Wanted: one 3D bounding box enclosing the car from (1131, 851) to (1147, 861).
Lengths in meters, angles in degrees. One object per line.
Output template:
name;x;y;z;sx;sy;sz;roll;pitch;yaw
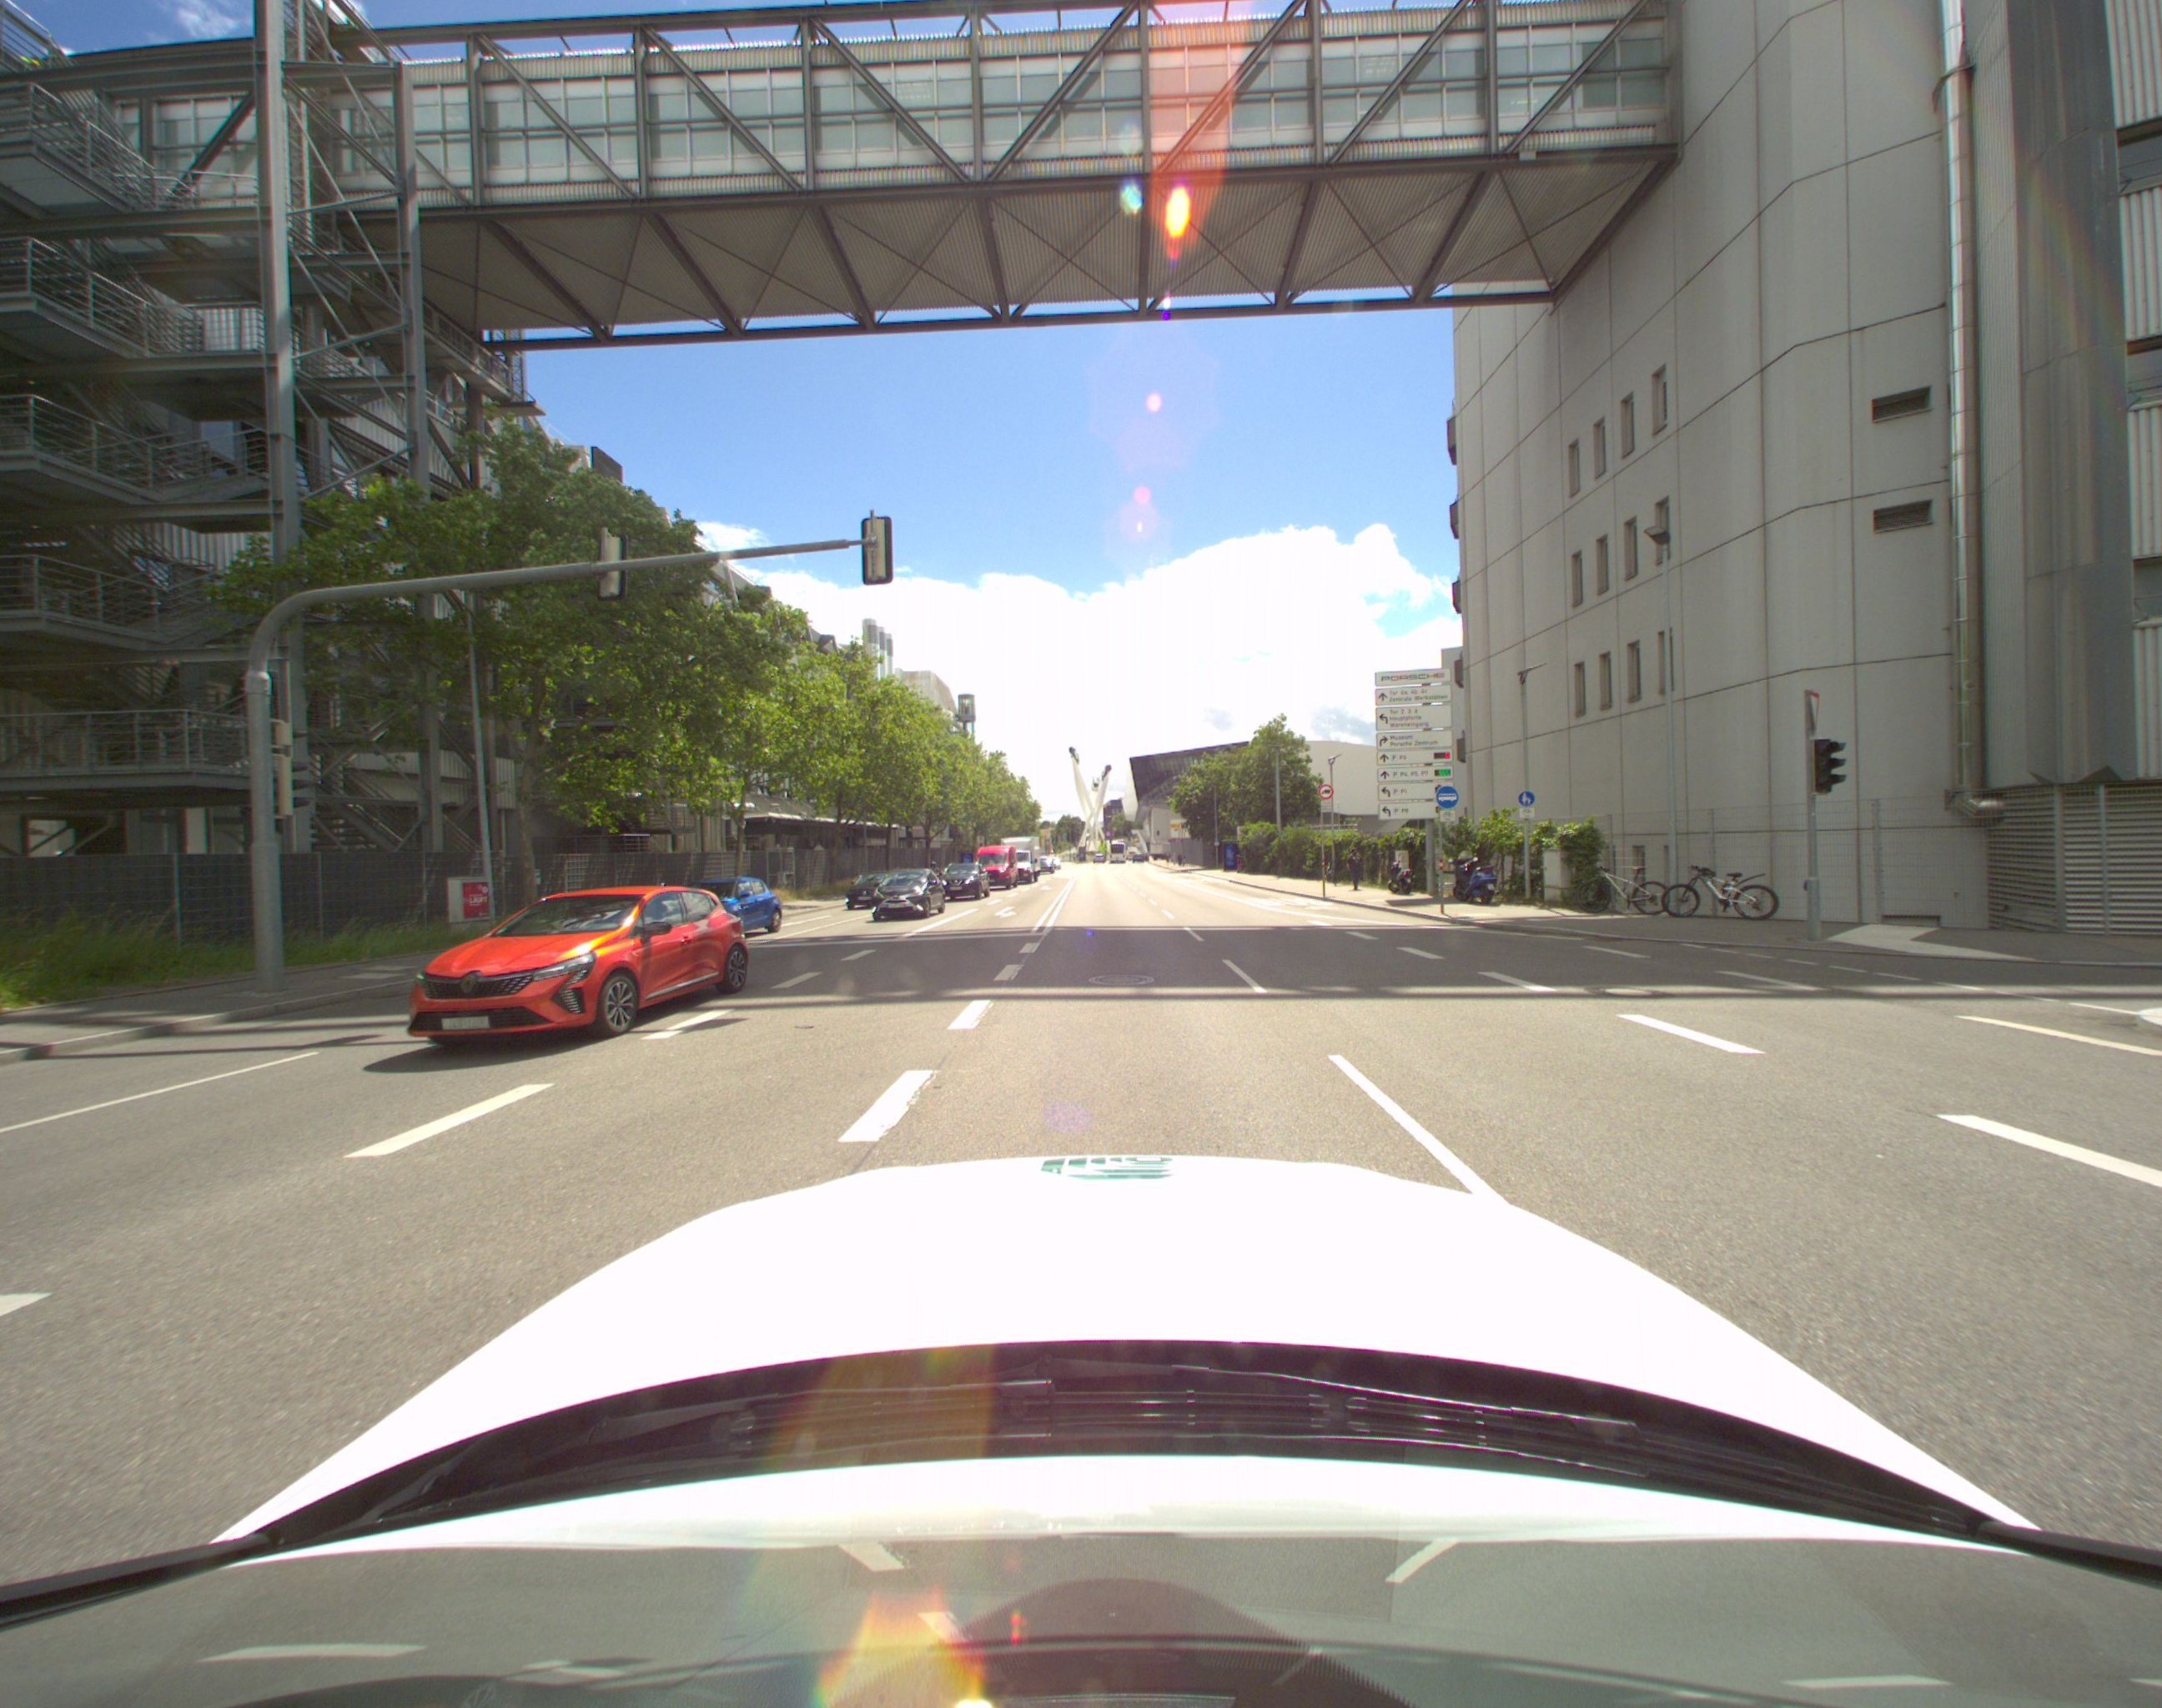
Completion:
car;9.759;0.351;136.700;1.979;1.636;4.016;-1;1;14

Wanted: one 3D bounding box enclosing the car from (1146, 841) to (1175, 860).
car;15.712;-0.638;159.863;3.307;3.504;9.389;-1;-1;20

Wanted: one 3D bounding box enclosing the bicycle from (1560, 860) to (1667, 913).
bicycle;12.072;0.742;18.493;1.944;1.128;0.549;-3;0;36

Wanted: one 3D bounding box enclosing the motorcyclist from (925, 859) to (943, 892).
motorcyclist;-7.343;1.059;40.744;0.731;1.622;1.094;0;-1;-2

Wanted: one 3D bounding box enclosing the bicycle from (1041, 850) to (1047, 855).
bicycle;-10.526;-0.382;229.954;1.600;1.382;0.493;0;-1;0

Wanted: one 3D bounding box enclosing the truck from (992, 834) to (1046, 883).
truck;-4.122;0.328;55.396;2.440;3.129;7.254;0;-1;5

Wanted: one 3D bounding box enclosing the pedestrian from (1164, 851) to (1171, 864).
pedestrian;11.229;0.458;105.468;0.792;1.720;0.732;0;-1;1

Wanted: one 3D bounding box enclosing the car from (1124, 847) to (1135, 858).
car;10.148;-0.273;169.291;1.983;2.171;4.664;0;-1;7

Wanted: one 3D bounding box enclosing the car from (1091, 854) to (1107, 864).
car;2.941;0.796;132.927;1.980;1.636;4.013;-1;-1;11

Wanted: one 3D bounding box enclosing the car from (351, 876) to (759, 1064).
car;-5.345;1.055;9.031;1.878;1.454;3.903;-3;-1;1

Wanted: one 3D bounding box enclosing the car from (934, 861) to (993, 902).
car;-4.999;1.135;35.144;1.729;1.684;4.216;0;-1;3

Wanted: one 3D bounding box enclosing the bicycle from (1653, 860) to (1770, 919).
bicycle;13.004;0.725;16.855;1.862;1.128;0.549;-2;1;36

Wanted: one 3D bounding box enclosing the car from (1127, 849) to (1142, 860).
car;10.201;0.137;155.267;1.979;1.932;4.257;-1;-1;14

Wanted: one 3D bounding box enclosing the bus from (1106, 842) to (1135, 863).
bus;6.750;-0.258;136.886;3.051;3.362;12.262;-1;-1;12

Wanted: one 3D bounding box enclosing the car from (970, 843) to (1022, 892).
car;-4.754;0.702;46.356;2.055;2.507;5.482;-3;0;2

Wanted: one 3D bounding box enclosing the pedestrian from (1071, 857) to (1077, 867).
pedestrian;-1.320;1.514;156.573;0.864;1.774;1.031;0;-1;-12

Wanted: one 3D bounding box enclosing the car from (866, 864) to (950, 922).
car;-5.152;1.105;24.662;1.552;1.505;3.614;-3;0;2

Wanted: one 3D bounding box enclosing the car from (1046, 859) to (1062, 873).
car;-3.231;1.432;98.509;1.685;1.415;4.147;-3;0;2

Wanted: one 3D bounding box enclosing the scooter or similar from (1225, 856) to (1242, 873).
scooter or similar;11.385;0.755;60.826;0.536;1.163;2.141;-3;0;28

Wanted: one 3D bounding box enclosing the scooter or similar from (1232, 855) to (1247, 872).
scooter or similar;11.716;0.721;60.078;0.536;1.163;1.803;-3;0;28

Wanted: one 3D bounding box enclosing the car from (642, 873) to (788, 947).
car;-8.622;1.265;19.555;1.687;1.429;3.822;-2;0;0

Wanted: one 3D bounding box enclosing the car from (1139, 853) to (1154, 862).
car;11.673;0.614;144.685;1.979;1.636;4.015;-1;-1;14

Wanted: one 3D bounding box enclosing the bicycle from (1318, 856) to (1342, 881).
bicycle;12.144;0.706;39.764;0.441;1.180;2.469;0;-1;1

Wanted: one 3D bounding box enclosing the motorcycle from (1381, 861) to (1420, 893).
motorcycle;11.435;0.803;29.190;0.588;1.067;2.038;-3;0;2

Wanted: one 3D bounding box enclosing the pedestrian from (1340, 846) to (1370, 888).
pedestrian;11.081;0.521;32.939;0.807;1.645;0.997;-3;-1;0

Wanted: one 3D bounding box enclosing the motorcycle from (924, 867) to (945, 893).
motorcycle;-7.327;1.270;40.767;0.672;1.220;2.374;0;-1;-2

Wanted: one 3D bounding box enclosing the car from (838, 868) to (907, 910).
car;-8.218;1.343;32.416;1.571;1.428;3.920;-3;0;1

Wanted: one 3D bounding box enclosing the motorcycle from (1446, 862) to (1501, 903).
motorcycle;11.168;0.778;23.229;0.588;1.067;2.038;-3;0;2

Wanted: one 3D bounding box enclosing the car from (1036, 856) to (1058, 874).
car;-3.285;1.062;79.358;1.733;1.581;4.269;-4;0;2
